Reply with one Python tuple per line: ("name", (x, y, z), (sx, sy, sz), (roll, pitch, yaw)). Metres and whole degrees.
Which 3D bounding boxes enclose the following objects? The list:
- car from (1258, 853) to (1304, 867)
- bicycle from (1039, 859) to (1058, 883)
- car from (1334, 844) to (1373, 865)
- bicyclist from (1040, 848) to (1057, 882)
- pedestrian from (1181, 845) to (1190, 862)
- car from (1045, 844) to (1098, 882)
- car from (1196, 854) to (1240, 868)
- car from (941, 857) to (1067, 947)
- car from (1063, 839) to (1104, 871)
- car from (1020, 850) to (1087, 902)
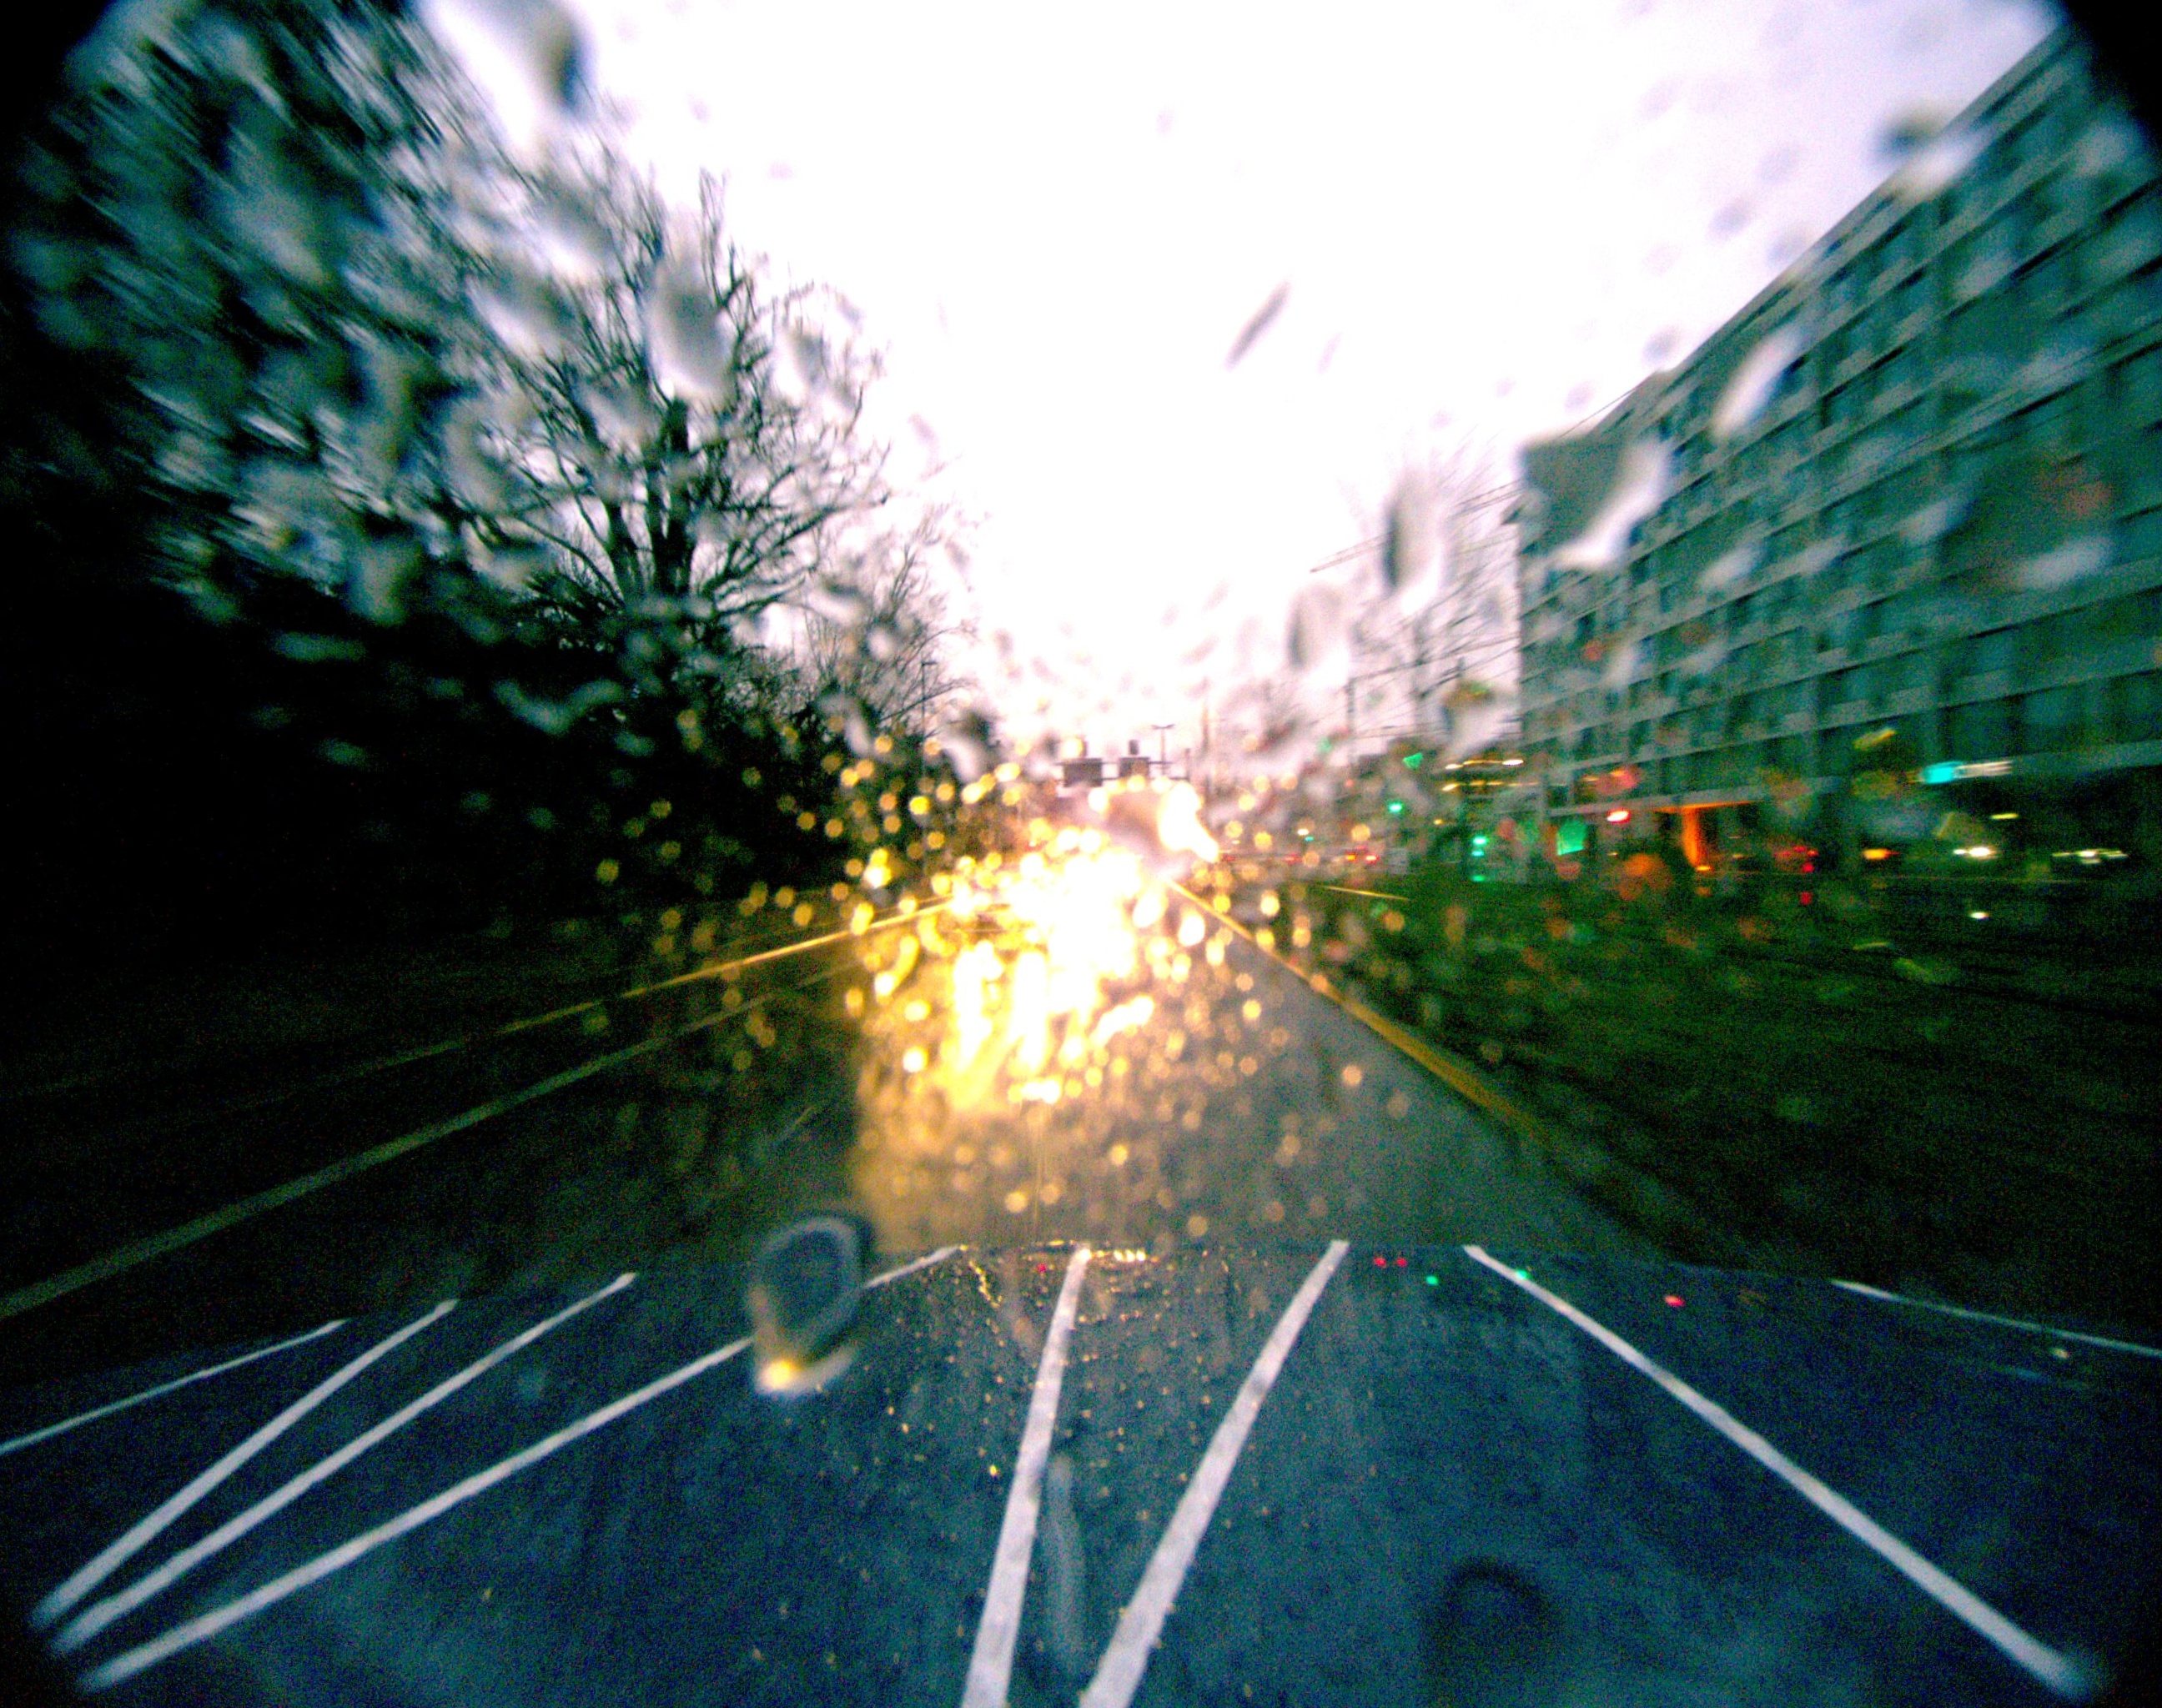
("car", (19.039, 0.560, 72.572), (1.821, 1.300, 3.989), (-1, 0, -37))
("bicycle", (-2.151, 1.099, 51.166), (0.967, 1.442, 3.389), (-3, 1, 1))
("car", (22.363, 0.043, 62.543), (2.085, 1.659, 5.046), (-1, 0, 8))
("bicyclist", (-2.185, 0.729, 51.198), (0.967, 2.210, 0.935), (-3, 1, 1))
("pedestrian", (11.266, -0.026, 81.986), (0.768, 1.794, 0.711), (-2, 1, 26))
("car", (-0.380, 0.375, 35.818), (2.072, 1.618, 4.269), (-3, 1, 4))
("car", (13.864, 0.709, 77.033), (4.252, 1.392, 2.113), (-1, 0, 8))
("car", (-1.413, 0.878, 15.666), (1.885, 1.552, 4.172), (-1, 0, 4))
("car", (0.179, 0.041, 43.251), (1.998, 1.618, 4.269), (-3, 0, 4))
("car", (-0.921, 0.741, 27.657), (2.073, 1.618, 4.268), (-3, 1, 2))
